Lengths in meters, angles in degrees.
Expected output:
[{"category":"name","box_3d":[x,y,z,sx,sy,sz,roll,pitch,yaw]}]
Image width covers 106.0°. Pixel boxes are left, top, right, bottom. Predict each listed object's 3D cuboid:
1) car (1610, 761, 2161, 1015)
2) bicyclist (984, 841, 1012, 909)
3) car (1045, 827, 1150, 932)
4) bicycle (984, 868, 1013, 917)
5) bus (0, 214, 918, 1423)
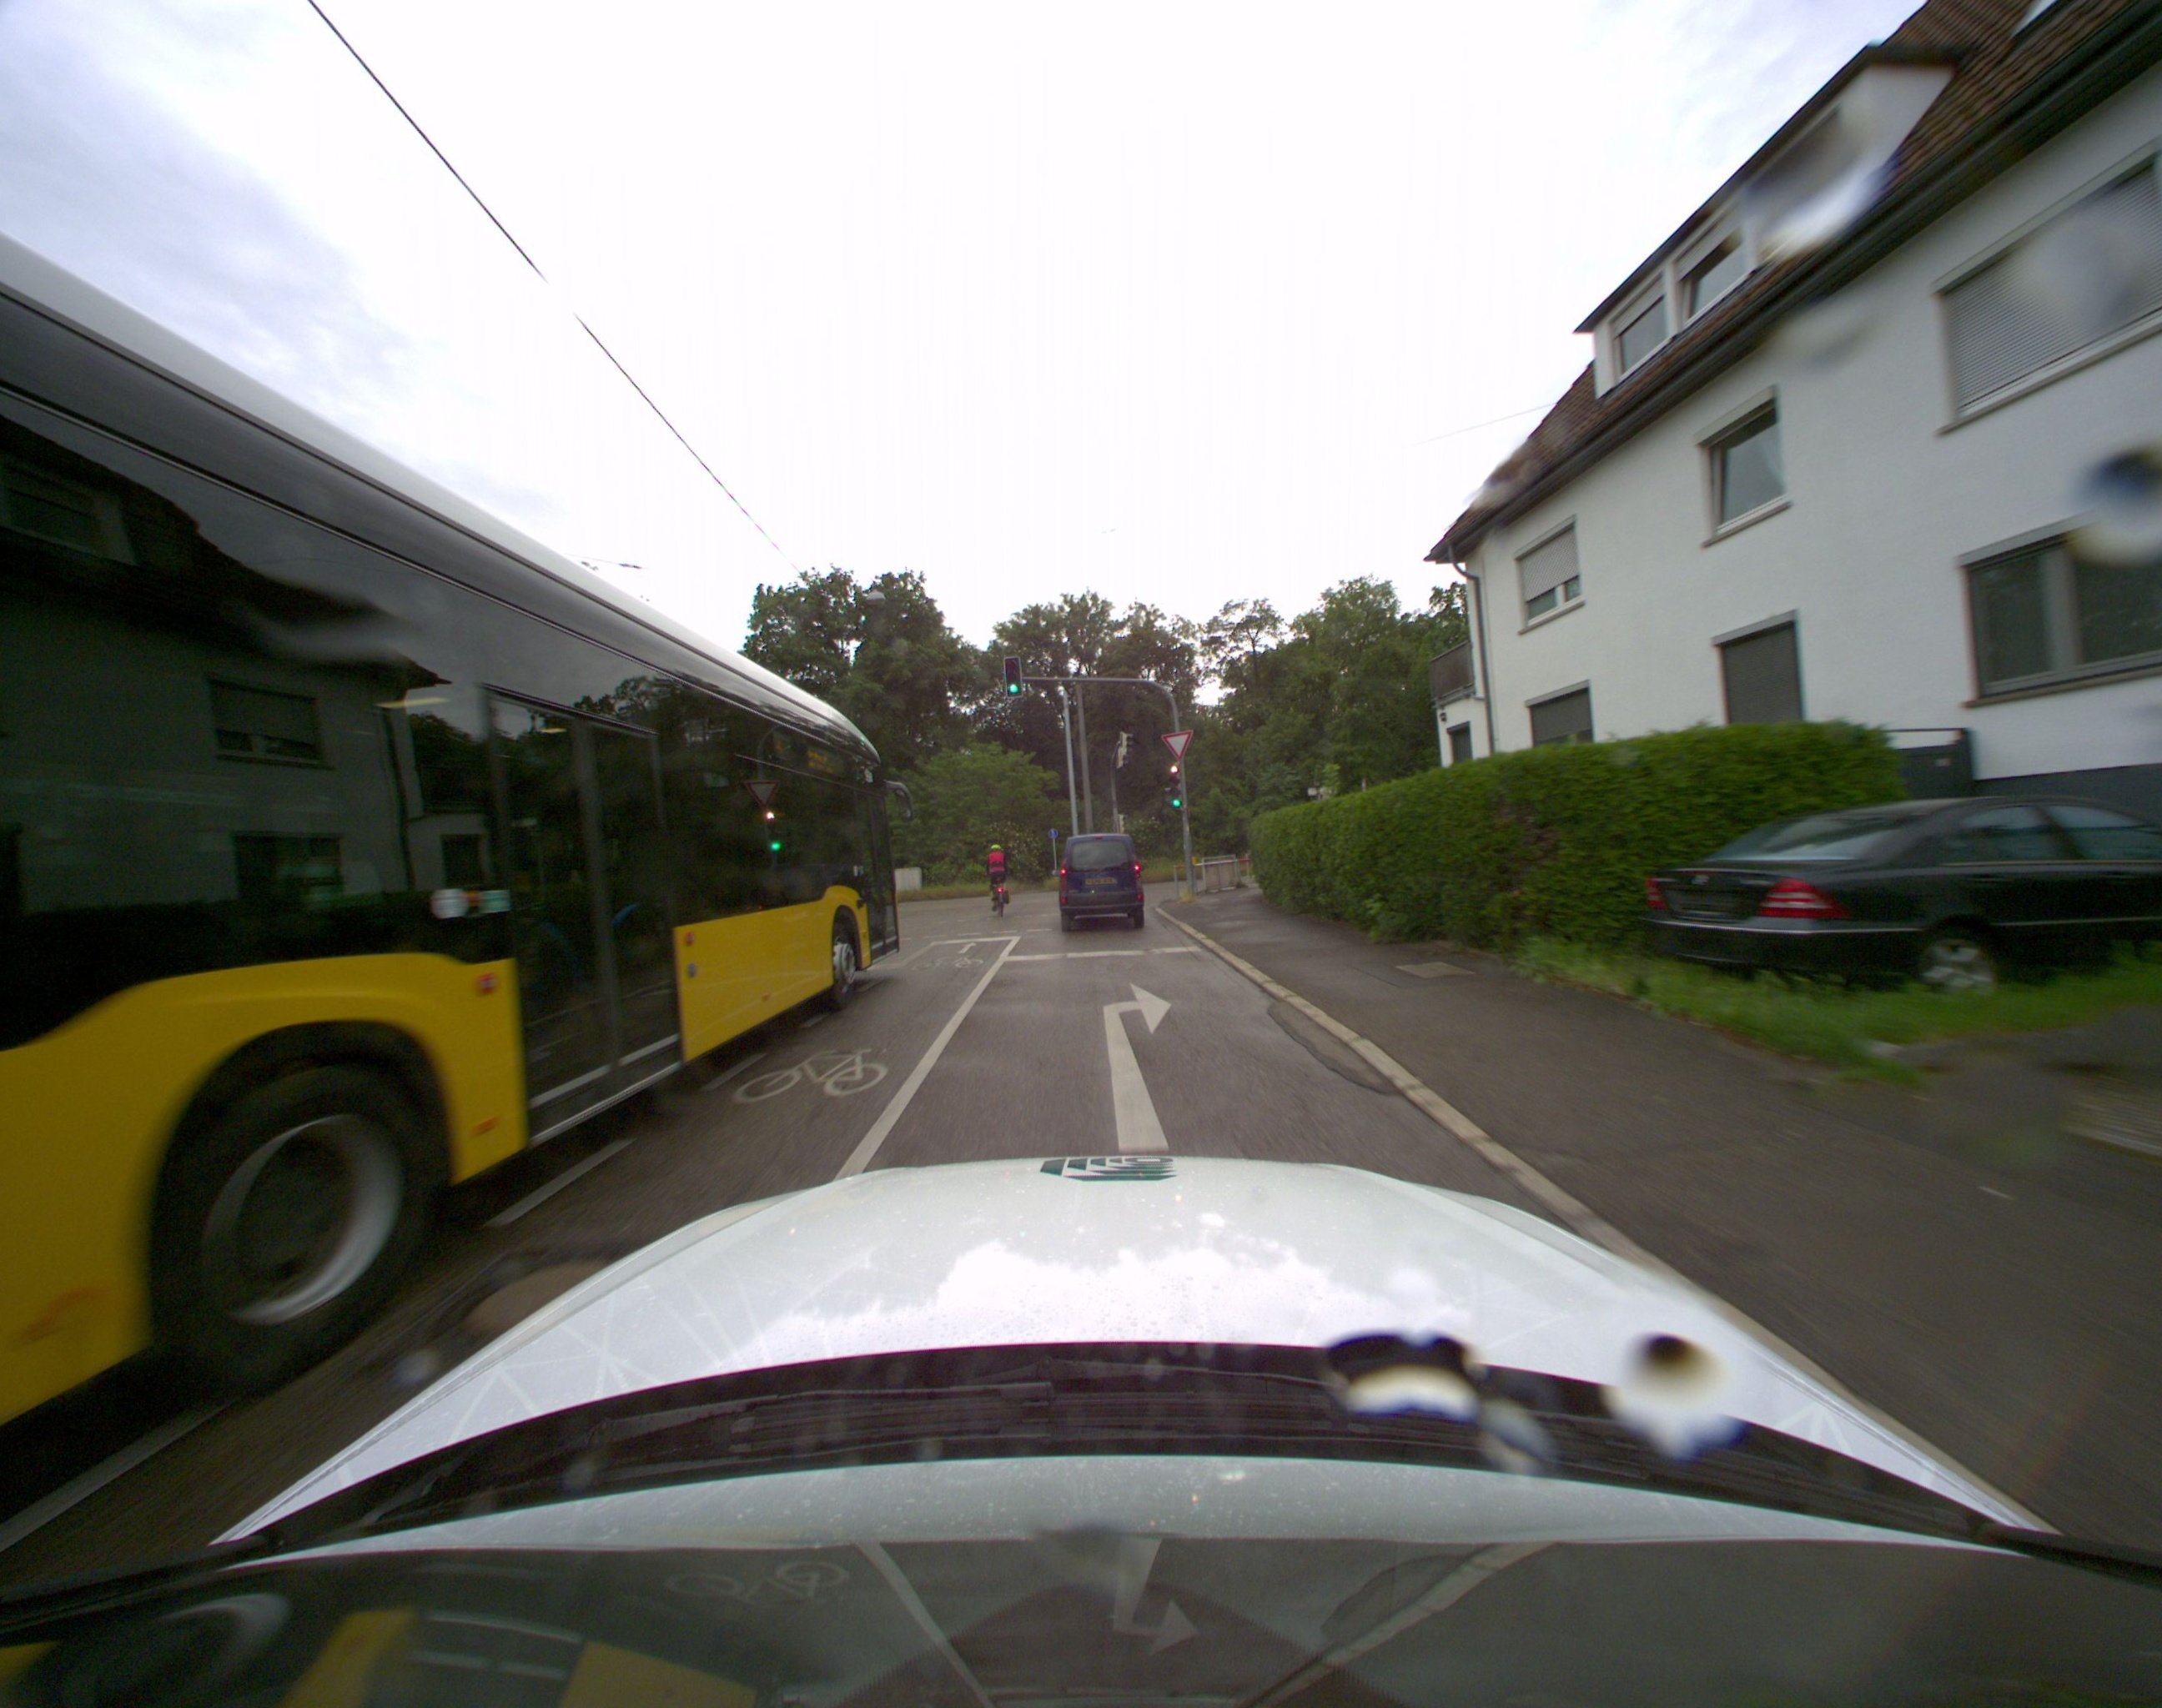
[{"category":"car","box_3d":[6.360,0.153,6.102,3.733,1.388,1.615,-5,2,-2]},{"category":"bicyclist","box_3d":[-2.102,0.509,20.691,0.577,1.652,1.047,-3,0,-4]},{"category":"car","box_3d":[0.221,0.486,17.022,1.805,1.797,3.996,-4,-1,-3]},{"category":"bicycle","box_3d":[-2.072,0.950,20.729,0.577,1.096,2.151,-4,0,-3]},{"category":"bus","box_3d":[-3.865,-0.041,6.828,2.890,3.398,9.039,-5,0,0]}]
